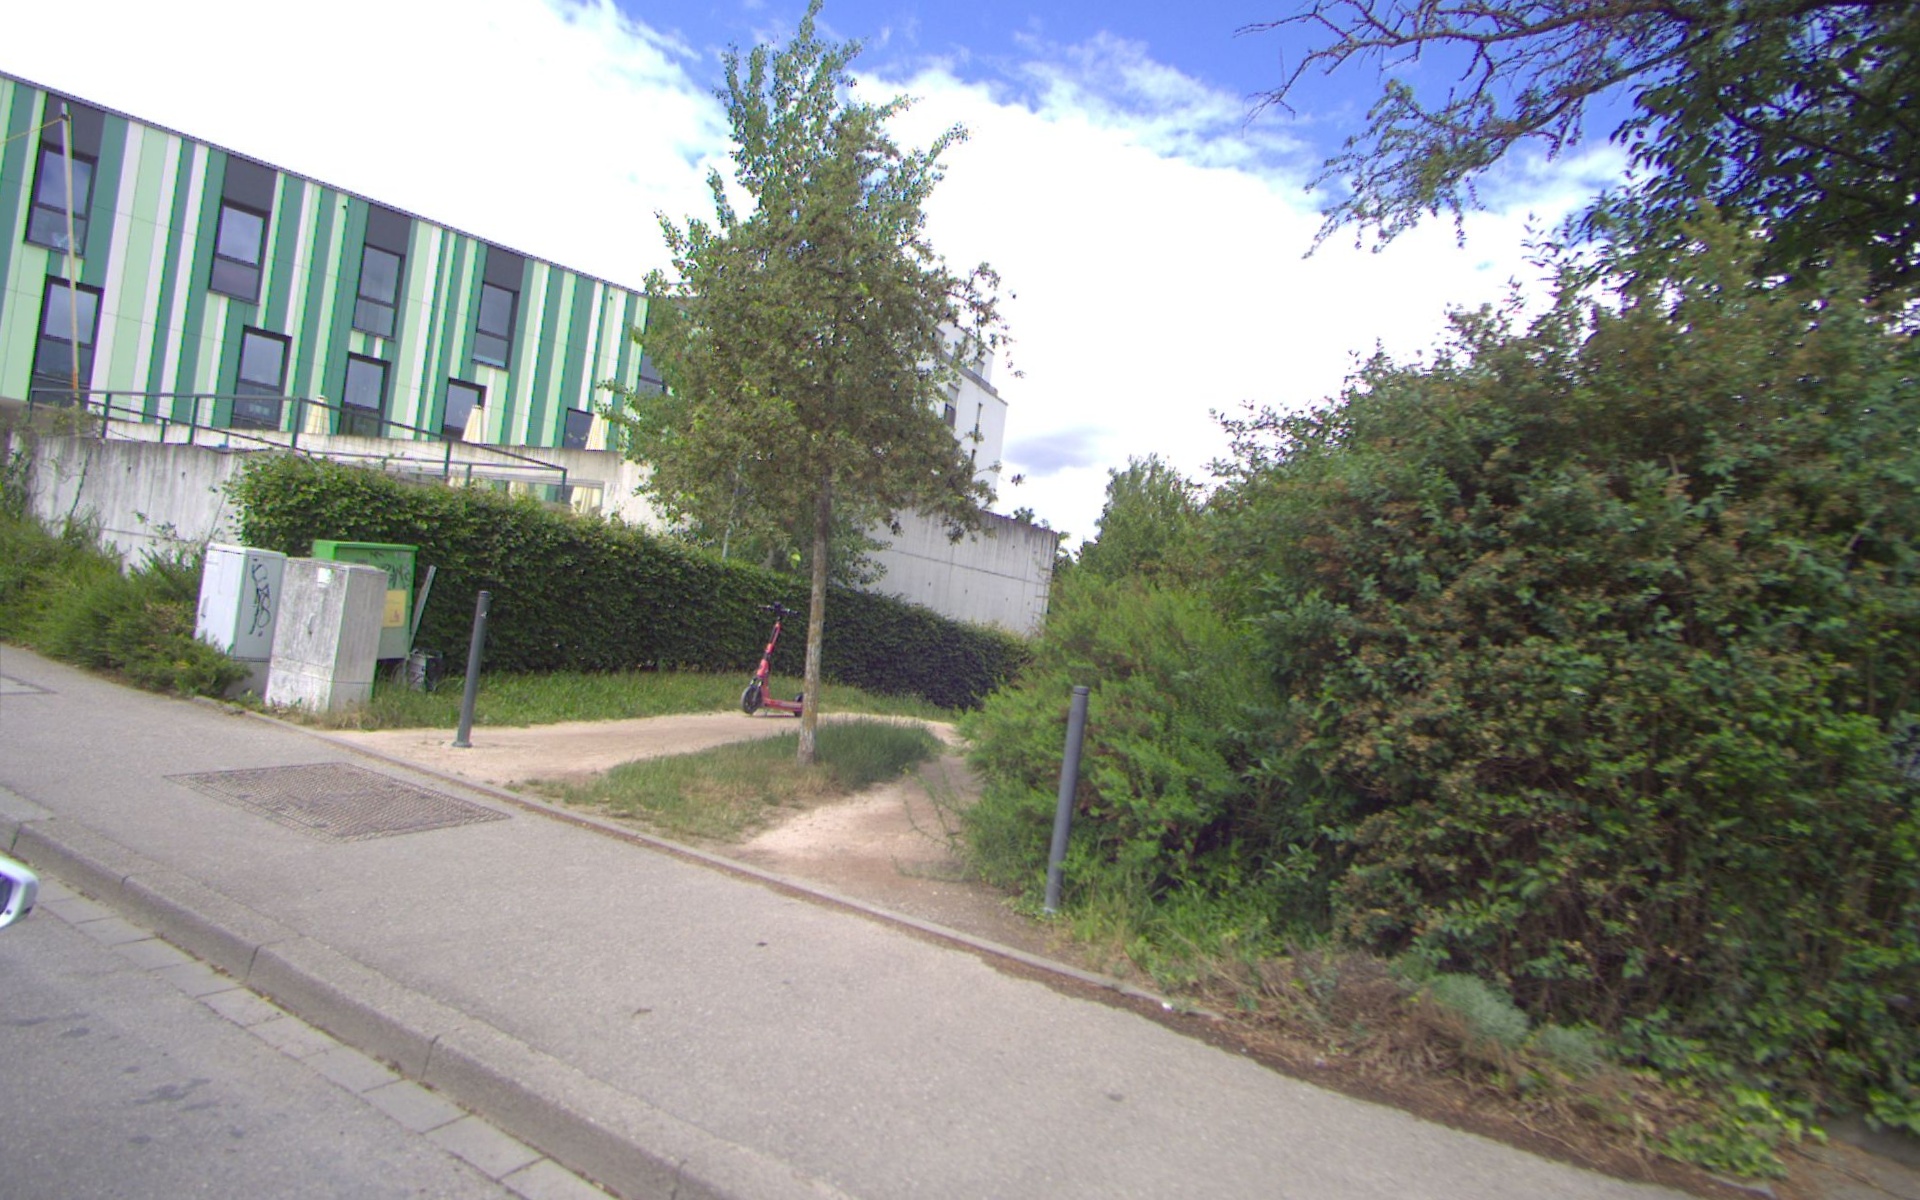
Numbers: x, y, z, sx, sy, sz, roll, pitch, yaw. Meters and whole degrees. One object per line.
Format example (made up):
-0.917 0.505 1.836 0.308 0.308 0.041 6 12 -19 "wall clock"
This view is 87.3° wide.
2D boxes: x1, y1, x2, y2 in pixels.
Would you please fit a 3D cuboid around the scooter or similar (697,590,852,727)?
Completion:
-2.042 0.676 11.237 0.811 1.340 1.395 8 -1 33 "scooter or similar"

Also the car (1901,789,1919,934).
10.856 2.769 8.925 1.846 1.524 4.008 7 -3 14 "car"
